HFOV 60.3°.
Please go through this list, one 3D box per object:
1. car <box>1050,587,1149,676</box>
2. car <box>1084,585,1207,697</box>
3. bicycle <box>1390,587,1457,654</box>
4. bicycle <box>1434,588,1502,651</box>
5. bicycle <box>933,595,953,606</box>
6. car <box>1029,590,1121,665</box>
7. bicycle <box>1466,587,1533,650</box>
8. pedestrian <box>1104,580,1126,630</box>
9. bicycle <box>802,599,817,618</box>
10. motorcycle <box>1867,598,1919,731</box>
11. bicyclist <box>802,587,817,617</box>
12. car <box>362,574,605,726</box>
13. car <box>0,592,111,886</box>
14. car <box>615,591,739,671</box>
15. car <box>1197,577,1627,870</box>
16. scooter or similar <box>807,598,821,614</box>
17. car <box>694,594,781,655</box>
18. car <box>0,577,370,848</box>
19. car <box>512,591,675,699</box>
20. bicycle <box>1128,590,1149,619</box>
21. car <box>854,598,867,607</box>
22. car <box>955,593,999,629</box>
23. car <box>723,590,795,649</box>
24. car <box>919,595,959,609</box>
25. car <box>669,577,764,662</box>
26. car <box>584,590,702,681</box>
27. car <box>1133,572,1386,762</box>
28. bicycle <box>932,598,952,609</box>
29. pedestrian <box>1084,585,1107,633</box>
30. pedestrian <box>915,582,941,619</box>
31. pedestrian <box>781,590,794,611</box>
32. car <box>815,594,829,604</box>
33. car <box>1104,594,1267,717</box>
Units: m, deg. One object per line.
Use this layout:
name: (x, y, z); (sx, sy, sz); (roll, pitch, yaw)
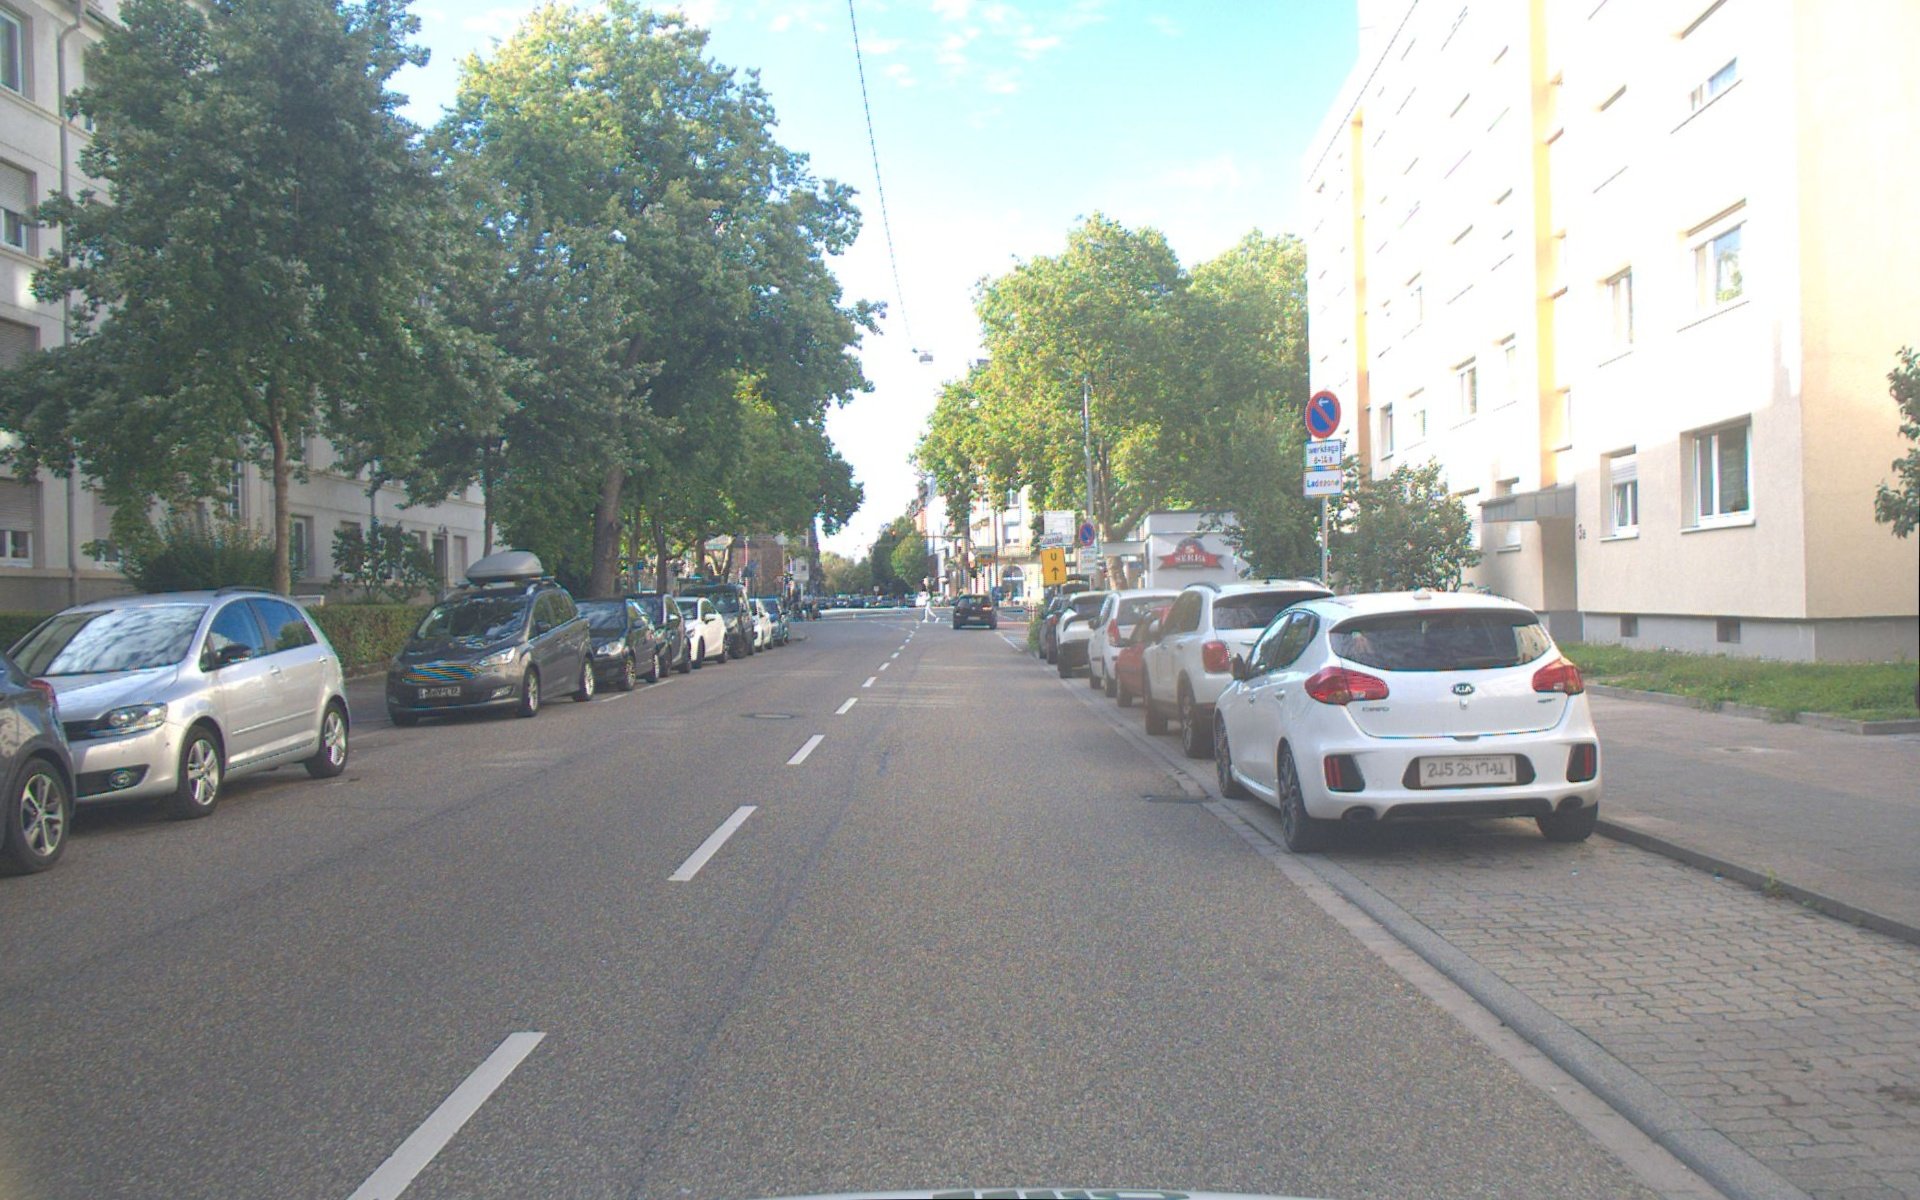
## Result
car: (2.601, 0.553, 31.599); (1.654, 1.555, 4.239); (-1, 0, 2)
car: (2.813, 0.578, 25.660); (1.519, 1.584, 3.468); (-1, 0, 0)
bicycle: (8.915, 0.373, 31.900); (0.585, 1.207, 2.209); (-4, 0, 0)
bicycle: (9.719, 0.359, 31.723); (0.585, 1.134, 2.209); (-2, 0, 0)
bicycle: (-1.741, 0.063, 169.931); (1.988, 1.101, 0.618); (-1, 0, -14)
car: (2.548, 0.582, 37.478); (1.656, 1.555, 4.236); (-2, 0, -2)
bicycle: (10.327, 0.340, 31.719); (0.518, 1.134, 2.209); (-2, 0, 0)
pedestrian: (5.276, 0.171, 56.364); (0.639, 1.674, 0.743); (-1, 0, -1)
bicycle: (-8.451, 0.465, 92.879); (0.746, 1.011, 1.923); (0, 0, -7)
motorcycle: (8.146, 0.531, 13.028); (0.617, 1.063, 2.393); (-3, 0, -1)
bicyclist: (-8.444, 0.111, 92.808); (0.796, 1.721, 1.111); (0, 0, -7)
car: (-6.134, 0.580, 21.860); (1.762, 1.697, 4.483); (-3, 0, 1)
car: (-5.667, 0.758, 7.524); (1.582, 1.494, 4.012); (-3, 0, -2)
car: (-6.027, 0.617, 35.720); (1.659, 1.519, 4.334); (-3, 0, 3)
car: (2.775, 0.665, 11.269); (1.693, 1.513, 4.642); (-2, 0, 1)
scooter or similar: (-8.906, 0.349, 101.005); (0.790, 0.939, 1.012); (-1, 0, -8)
car: (-6.169, 0.659, 46.208); (1.762, 1.519, 3.803); (-3, 0, 1)
car: (-6.000, 0.723, 12.440); (1.704, 1.648, 3.993); (-3, 0, -2)
car: (-5.844, 0.665, 26.798); (1.665, 1.512, 3.848); (-3, 0, 1)
bicycle: (7.929, 0.179, 73.396); (0.753, 1.227, 1.816); (-3, 0, 3)
car: (-15.160, 0.346, 252.527); (1.742, 1.251, 3.587); (0, 0, -1)
car: (0.684, 0.444, 68.539); (1.716, 1.438, 3.999); (-1, 0, -1)
car: (-6.136, 0.560, 50.784); (1.763, 1.648, 3.801); (-3, 0, -2)
car: (-2.215, 0.210, 172.302); (3.912, 1.445, 1.997); (-1, 0, -8)
car: (-5.972, 0.446, 40.959); (1.688, 1.915, 4.191); (-3, 0, -1)
car: (-5.958, 0.630, 31.332); (1.521, 1.546, 3.017); (-3, 0, 1)
car: (2.858, 0.591, 16.656); (1.693, 1.608, 4.116); (-2, 0, -1)
bicycle: (-1.824, 0.324, 170.550); (1.988, 1.101, 0.628); (-1, 0, -14)
pedestrian: (4.495, 0.286, 55.017); (0.639, 1.565, 0.743); (-2, 0, -1)
pedestrian: (-1.585, 0.028, 81.543); (1.057, 1.784, 0.915); (0, 0, -17)
pedestrian: (-13.684, 0.017, 130.953); (0.764, 1.691, 0.779); (0, 0, 19)
car: (-17.100, -0.099, 205.303); (1.519, 1.251, 3.587); (0, 0, -1)
car: (2.890, 0.674, 21.833); (1.484, 1.422, 3.675); (-2, 0, -2)
